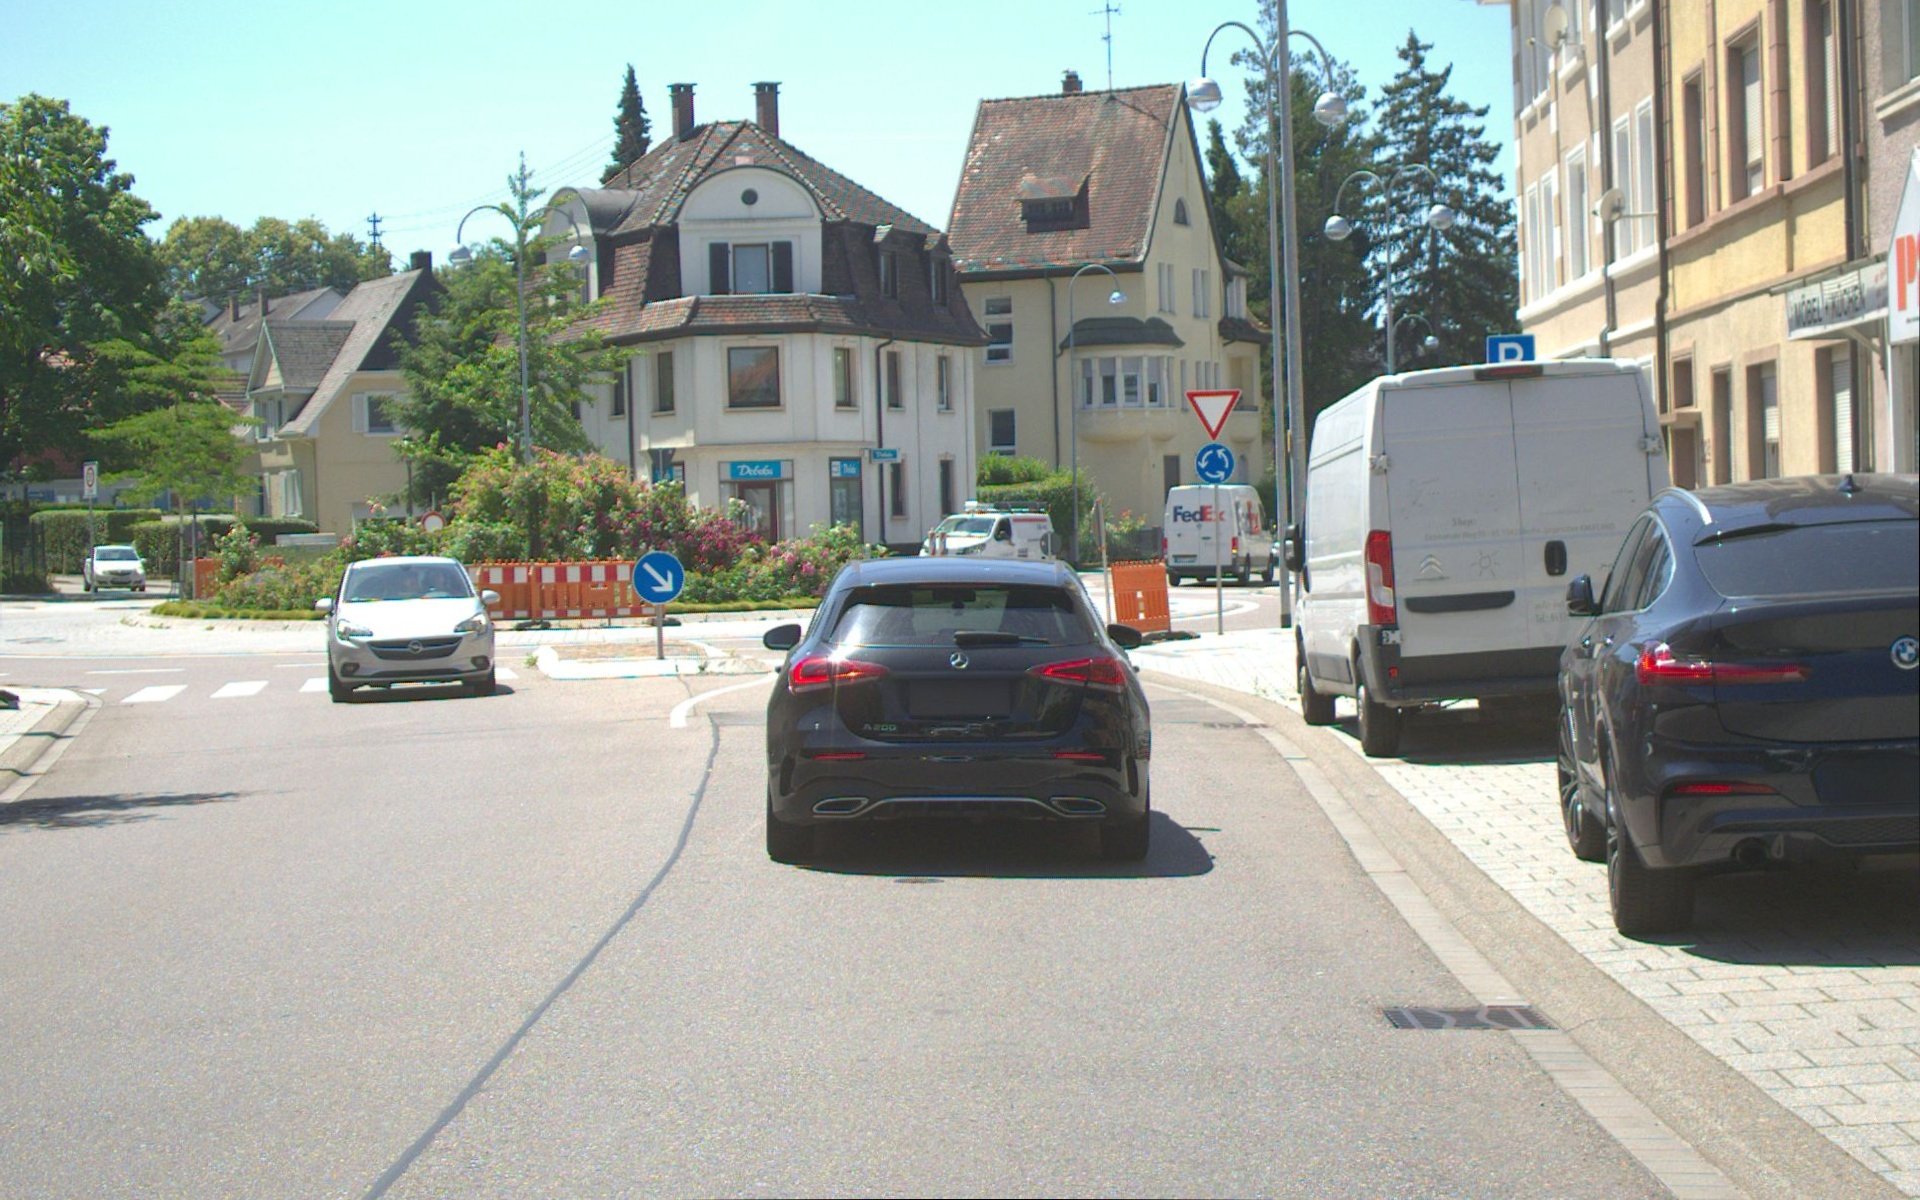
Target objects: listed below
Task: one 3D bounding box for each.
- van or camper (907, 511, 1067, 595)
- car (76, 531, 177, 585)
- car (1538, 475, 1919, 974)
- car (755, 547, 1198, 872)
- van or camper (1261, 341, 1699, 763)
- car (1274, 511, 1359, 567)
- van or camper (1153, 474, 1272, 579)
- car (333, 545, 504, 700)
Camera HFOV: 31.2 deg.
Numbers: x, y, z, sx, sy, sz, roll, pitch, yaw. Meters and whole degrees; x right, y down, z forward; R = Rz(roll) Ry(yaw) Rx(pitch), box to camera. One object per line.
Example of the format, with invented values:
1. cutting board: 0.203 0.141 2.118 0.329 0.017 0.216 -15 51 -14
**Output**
1. van or camper: 0.747 -1.222 90.534 1.996 2.164 5.405 0 0 27
2. car: -26.872 -1.350 110.925 1.785 1.592 3.919 -1 -1 9
3. car: 3.354 0.355 13.455 1.896 1.602 4.363 -3 1 7
4. car: 0.037 0.470 17.228 1.953 1.422 4.000 0 0 -1
5. van or camper: 3.555 -0.357 24.709 2.165 2.580 5.766 -3 1 0
6. car: 11.576 -1.991 111.592 1.922 1.766 3.997 1 1 18
7. van or camper: 6.510 -1.885 88.344 2.207 2.601 3.997 -1 1 17
8. car: -5.782 0.192 36.604 1.659 1.491 3.760 -2 1 -10
